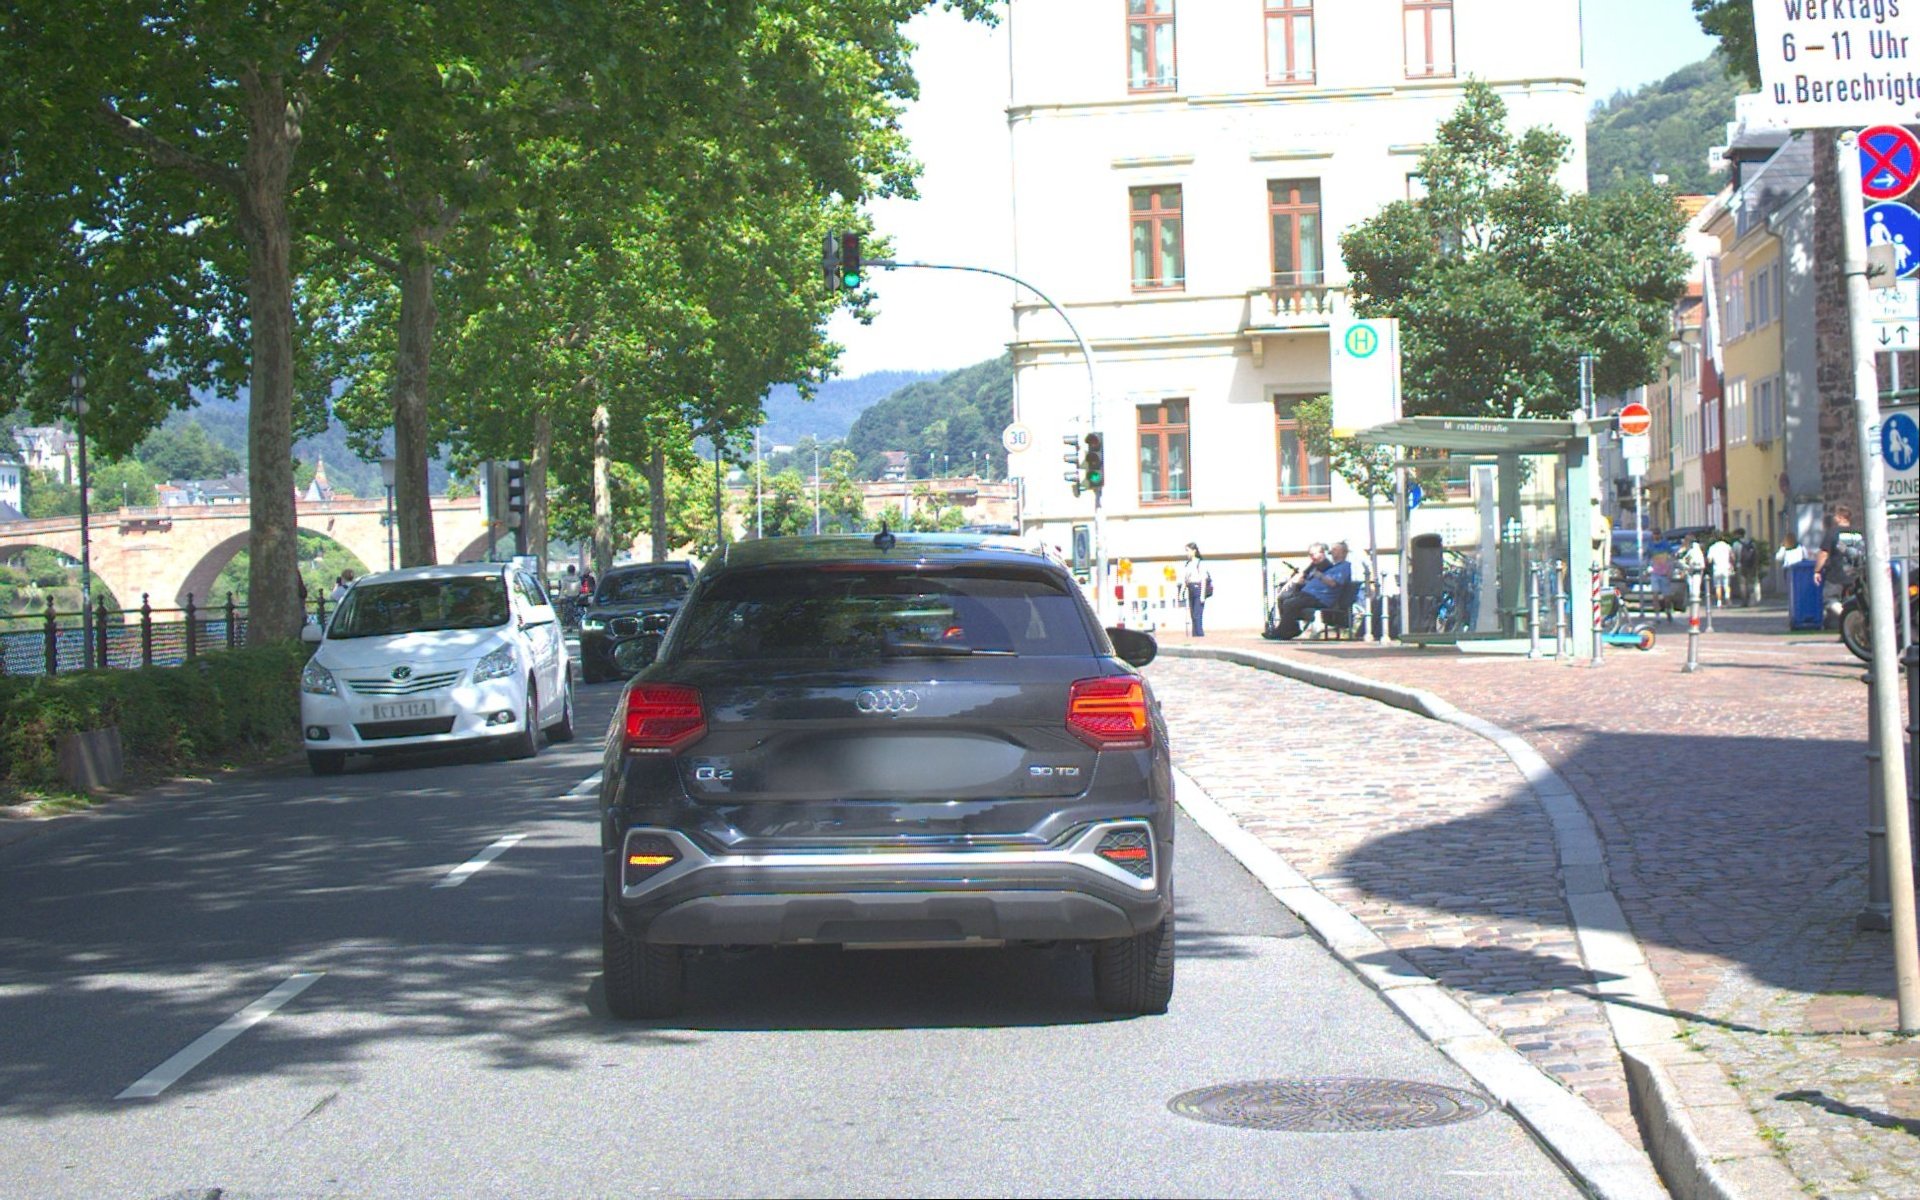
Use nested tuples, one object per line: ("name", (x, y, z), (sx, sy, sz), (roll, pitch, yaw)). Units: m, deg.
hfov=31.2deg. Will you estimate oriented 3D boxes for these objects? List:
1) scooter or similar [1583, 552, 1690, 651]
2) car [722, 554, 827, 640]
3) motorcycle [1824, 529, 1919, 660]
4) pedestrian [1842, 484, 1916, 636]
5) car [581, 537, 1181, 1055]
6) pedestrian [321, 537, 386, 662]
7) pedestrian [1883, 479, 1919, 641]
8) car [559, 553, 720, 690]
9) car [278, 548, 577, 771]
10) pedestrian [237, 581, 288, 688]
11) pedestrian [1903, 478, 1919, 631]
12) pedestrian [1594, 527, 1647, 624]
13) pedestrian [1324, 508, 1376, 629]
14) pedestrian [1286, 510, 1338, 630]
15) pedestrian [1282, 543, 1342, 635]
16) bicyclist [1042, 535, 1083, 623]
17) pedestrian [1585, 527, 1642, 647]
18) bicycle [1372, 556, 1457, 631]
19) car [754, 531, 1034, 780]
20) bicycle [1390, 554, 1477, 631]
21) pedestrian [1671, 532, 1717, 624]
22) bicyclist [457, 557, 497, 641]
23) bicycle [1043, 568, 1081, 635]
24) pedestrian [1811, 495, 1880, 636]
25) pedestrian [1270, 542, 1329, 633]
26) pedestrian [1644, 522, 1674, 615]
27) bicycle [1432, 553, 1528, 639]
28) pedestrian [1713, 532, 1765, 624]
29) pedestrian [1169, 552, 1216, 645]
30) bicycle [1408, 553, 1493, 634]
("scooter or similar", (7.313, 0.014, 37.183), (1.088, 1.062, 0.323), (1, 0, -2))
("car", (-4.001, -0.071, 74.665), (1.993, 1.800, 4.000), (0, 0, 1))
("motorcycle", (7.647, -0.067, 27.870), (0.566, 1.009, 2.490), (-2, 1, -2))
("pedestrian", (11.484, -0.497, 42.964), (0.668, 1.877, 0.821), (0, 0, -2))
("car", (-0.249, 0.540, 11.816), (1.743, 1.504, 3.647), (0, 1, -1))
("pedestrian", (-9.811, -0.010, 55.658), (0.911, 2.007, 0.585), (0, 0, 4))
("pedestrian", (11.356, -0.464, 40.524), (0.747, 1.884, 0.752), (0, 0, 2))
("car", (-4.637, 0.274, 50.331), (1.813, 1.719, 4.422), (-7, 1, 0))
("car", (-4.279, 0.421, 28.194), (1.738, 1.567, 4.092), (-5, 1, -1))
("pedestrian", (-10.684, 0.524, 52.661), (0.625, 1.613, 0.585), (0, 0, 4))
("pedestrian", (12.322, -0.561, 43.254), (0.668, 1.913, 0.821), (0, 0, -2))
("pedestrian", (13.809, -0.512, 71.862), (0.944, 2.007, 0.807), (0, 0, 0))
("pedestrian", (6.508, -0.517, 57.323), (0.640, 2.007, 0.664), (0, 0, 29))
("pedestrian", (5.929, -0.507, 57.894), (0.640, 2.007, 0.664), (0, 0, 29))
("pedestrian", (4.688, -0.144, 45.853), (0.663, 1.207, 0.641), (1, 0, -6))
("bicyclist", (1.692, -0.342, 56.910), (0.605, 1.445, 0.591), (1, 0, -5))
("pedestrian", (7.609, -0.155, 40.043), (0.557, 1.380, 0.588), (0, 0, 2))
("bicycle", (6.242, -0.084, 47.217), (1.184, 1.012, 0.179), (1, 0, -19))
("car", (-0.448, 0.339, 23.913), (1.793, 1.589, 3.399), (1, 1, -1))
("bicycle", (6.413, -0.104, 46.561), (1.201, 1.031, 0.179), (1, 0, -19))
("pedestrian", (16.128, -0.490, 75.525), (0.839, 2.007, 0.738), (0, 0, 0))
("bicyclist", (-7.529, -0.018, 53.595), (0.566, 1.307, 0.552), (1, 0, -5))
("bicycle", (1.685, 0.023, 56.886), (0.437, 1.082, 1.677), (1, 0, -5))
("pedestrian", (11.392, -0.442, 44.244), (0.652, 1.796, 0.847), (0, 1, -1))
("pedestrian", (4.601, -0.170, 46.605), (0.663, 1.227, 0.641), (1, 0, -6))
("pedestrian", (12.701, -0.570, 62.449), (0.449, 1.675, 0.466), (0, 0, 3))
("bicycle", (6.823, -0.050, 45.110), (1.303, 1.124, 0.179), (1, 0, -19))
("pedestrian", (17.113, -0.488, 75.543), (0.940, 2.007, 0.807), (0, 0, 0))
("pedestrian", (3.786, -0.027, 56.012), (0.693, 1.495, 0.514), (1, 0, -4))
("bicycle", (6.534, -0.079, 45.782), (1.157, 1.066, 0.179), (1, 0, -19))
